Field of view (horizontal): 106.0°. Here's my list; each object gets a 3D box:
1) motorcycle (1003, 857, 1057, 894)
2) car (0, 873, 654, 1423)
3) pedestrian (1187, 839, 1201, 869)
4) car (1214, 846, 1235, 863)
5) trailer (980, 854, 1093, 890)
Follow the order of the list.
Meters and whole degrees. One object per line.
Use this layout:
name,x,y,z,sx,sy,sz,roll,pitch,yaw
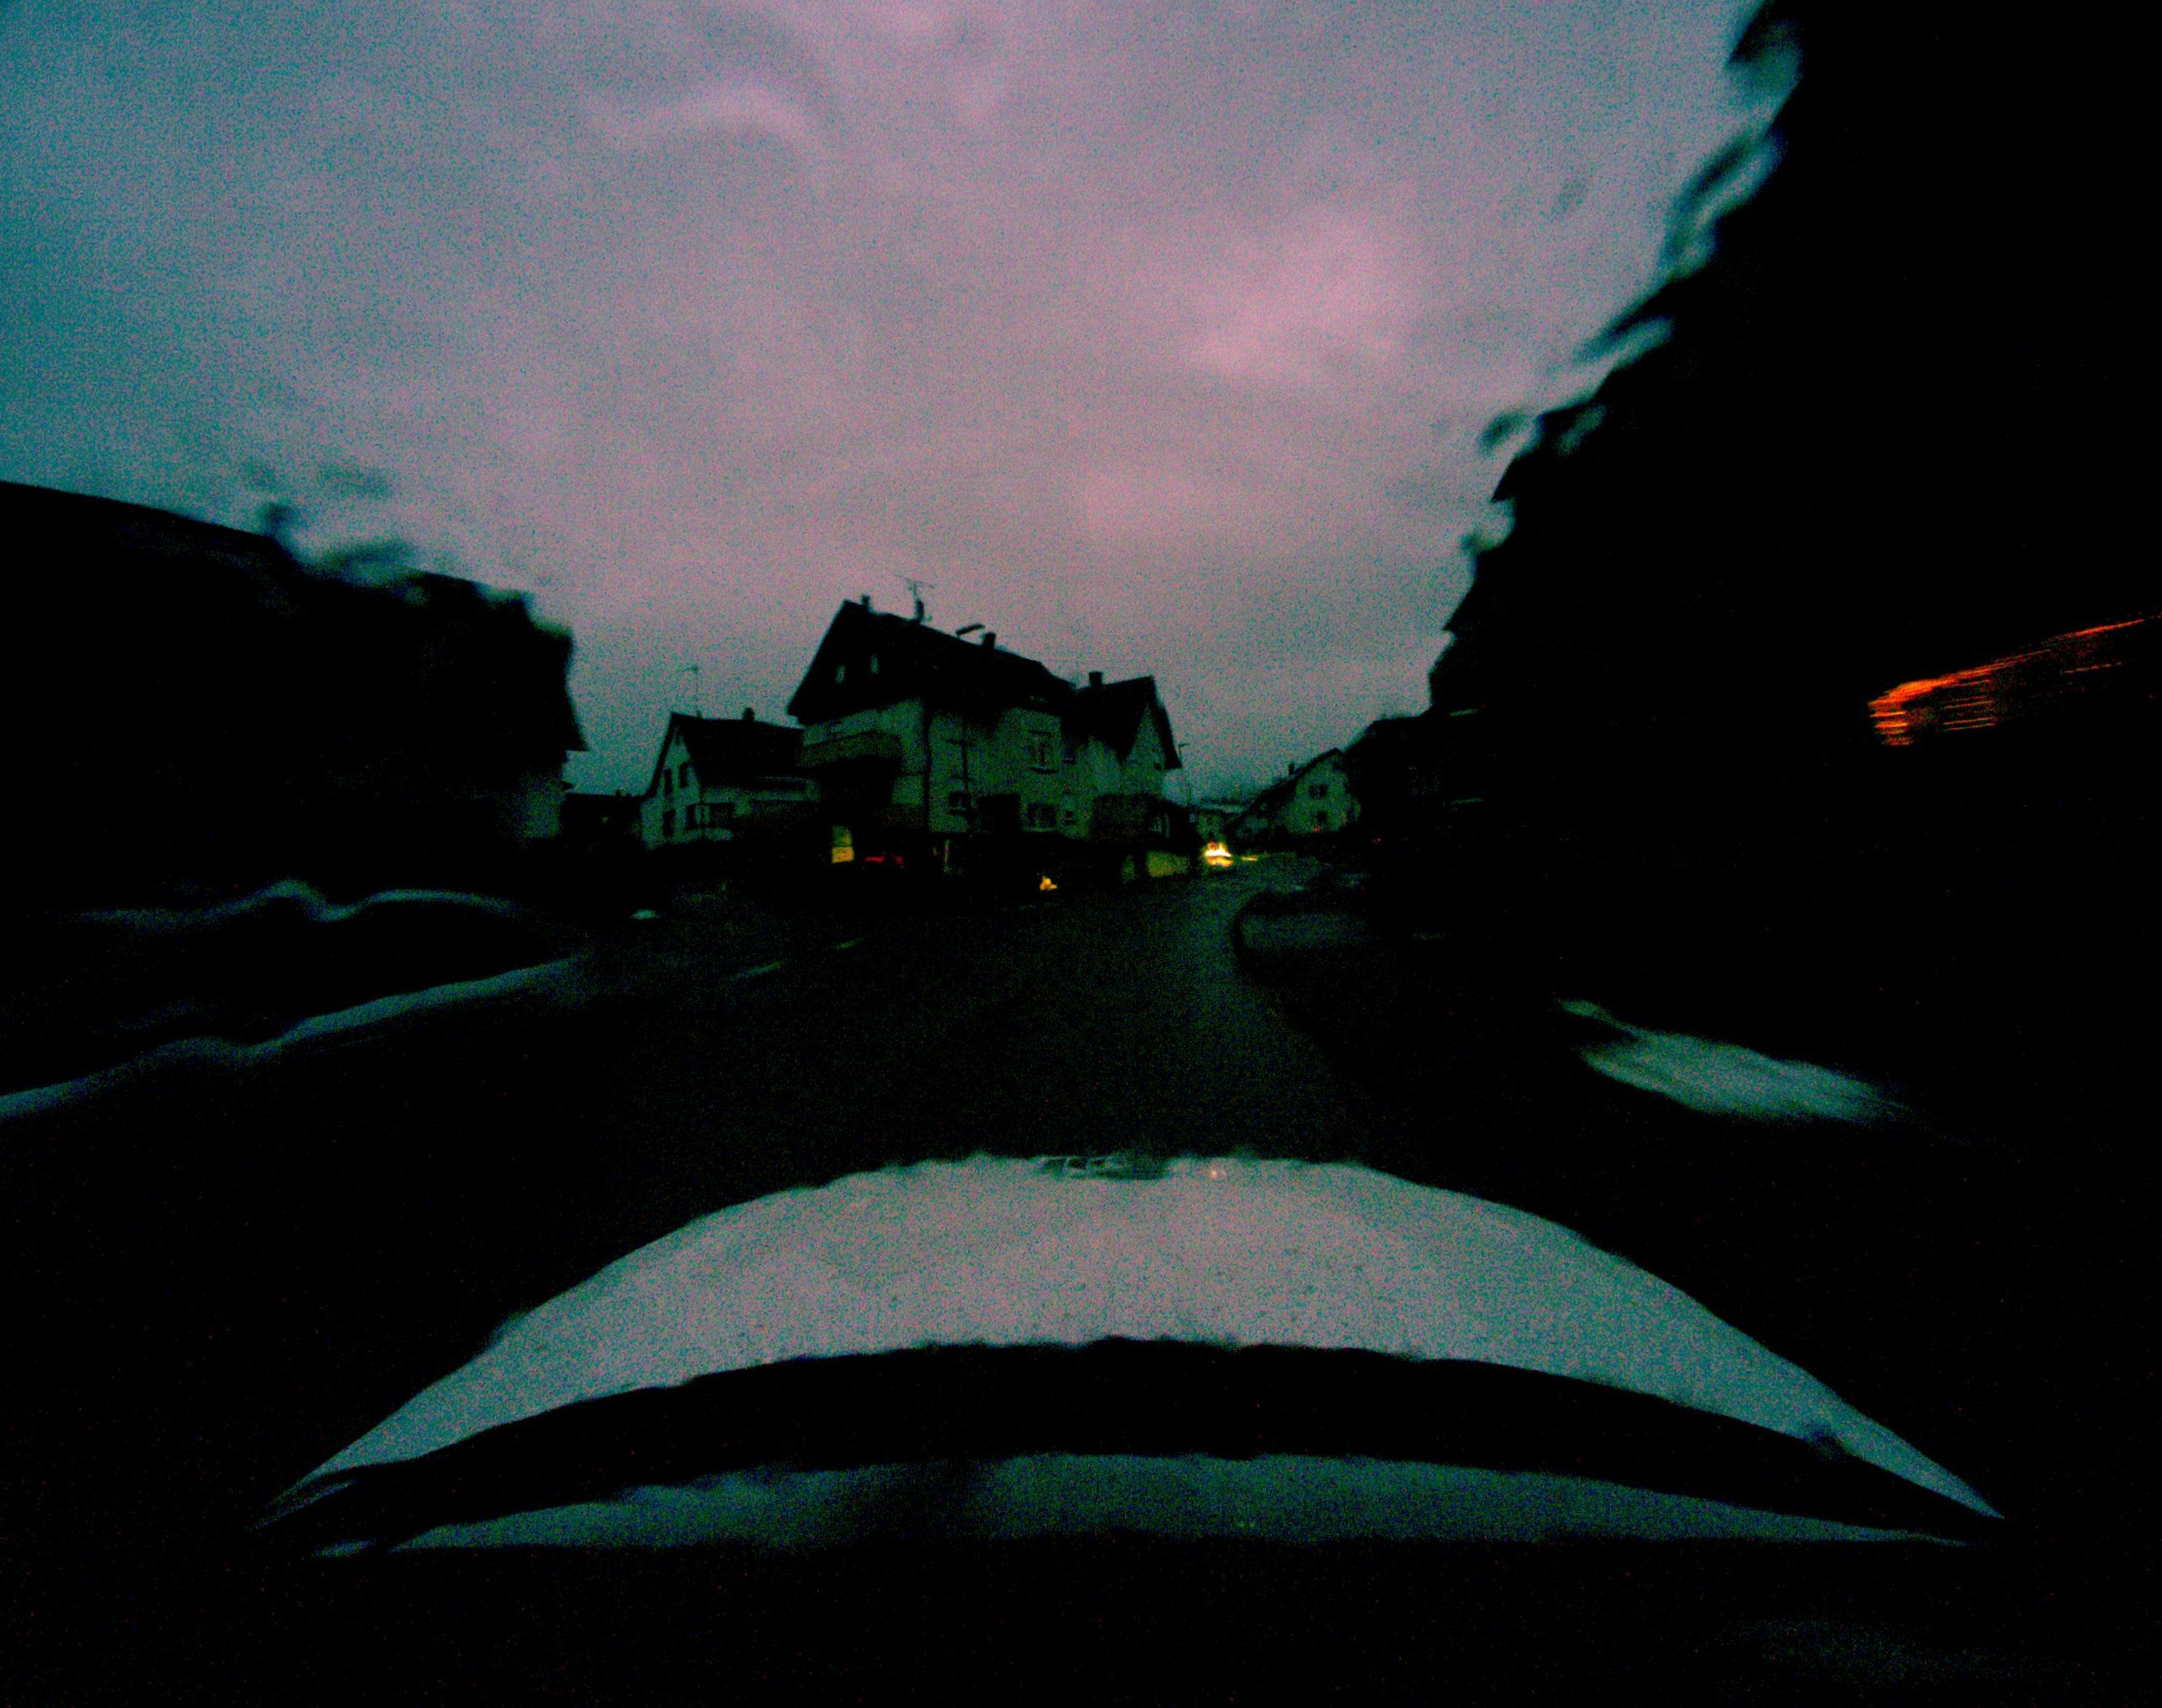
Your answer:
motorcycle,-1.923,0.790,30.543,1.061,1.298,2.215,-1,0,-33
car,-3.746,0.847,3.248,1.742,1.388,4.148,-1,0,2
pedestrian,6.669,0.029,47.963,0.593,1.733,0.816,-2,-1,22
car,18.267,0.033,103.658,2.094,2.027,5.003,-4,0,15
trailer,-1.700,0.692,33.128,2.038,1.168,4.900,-1,2,34
